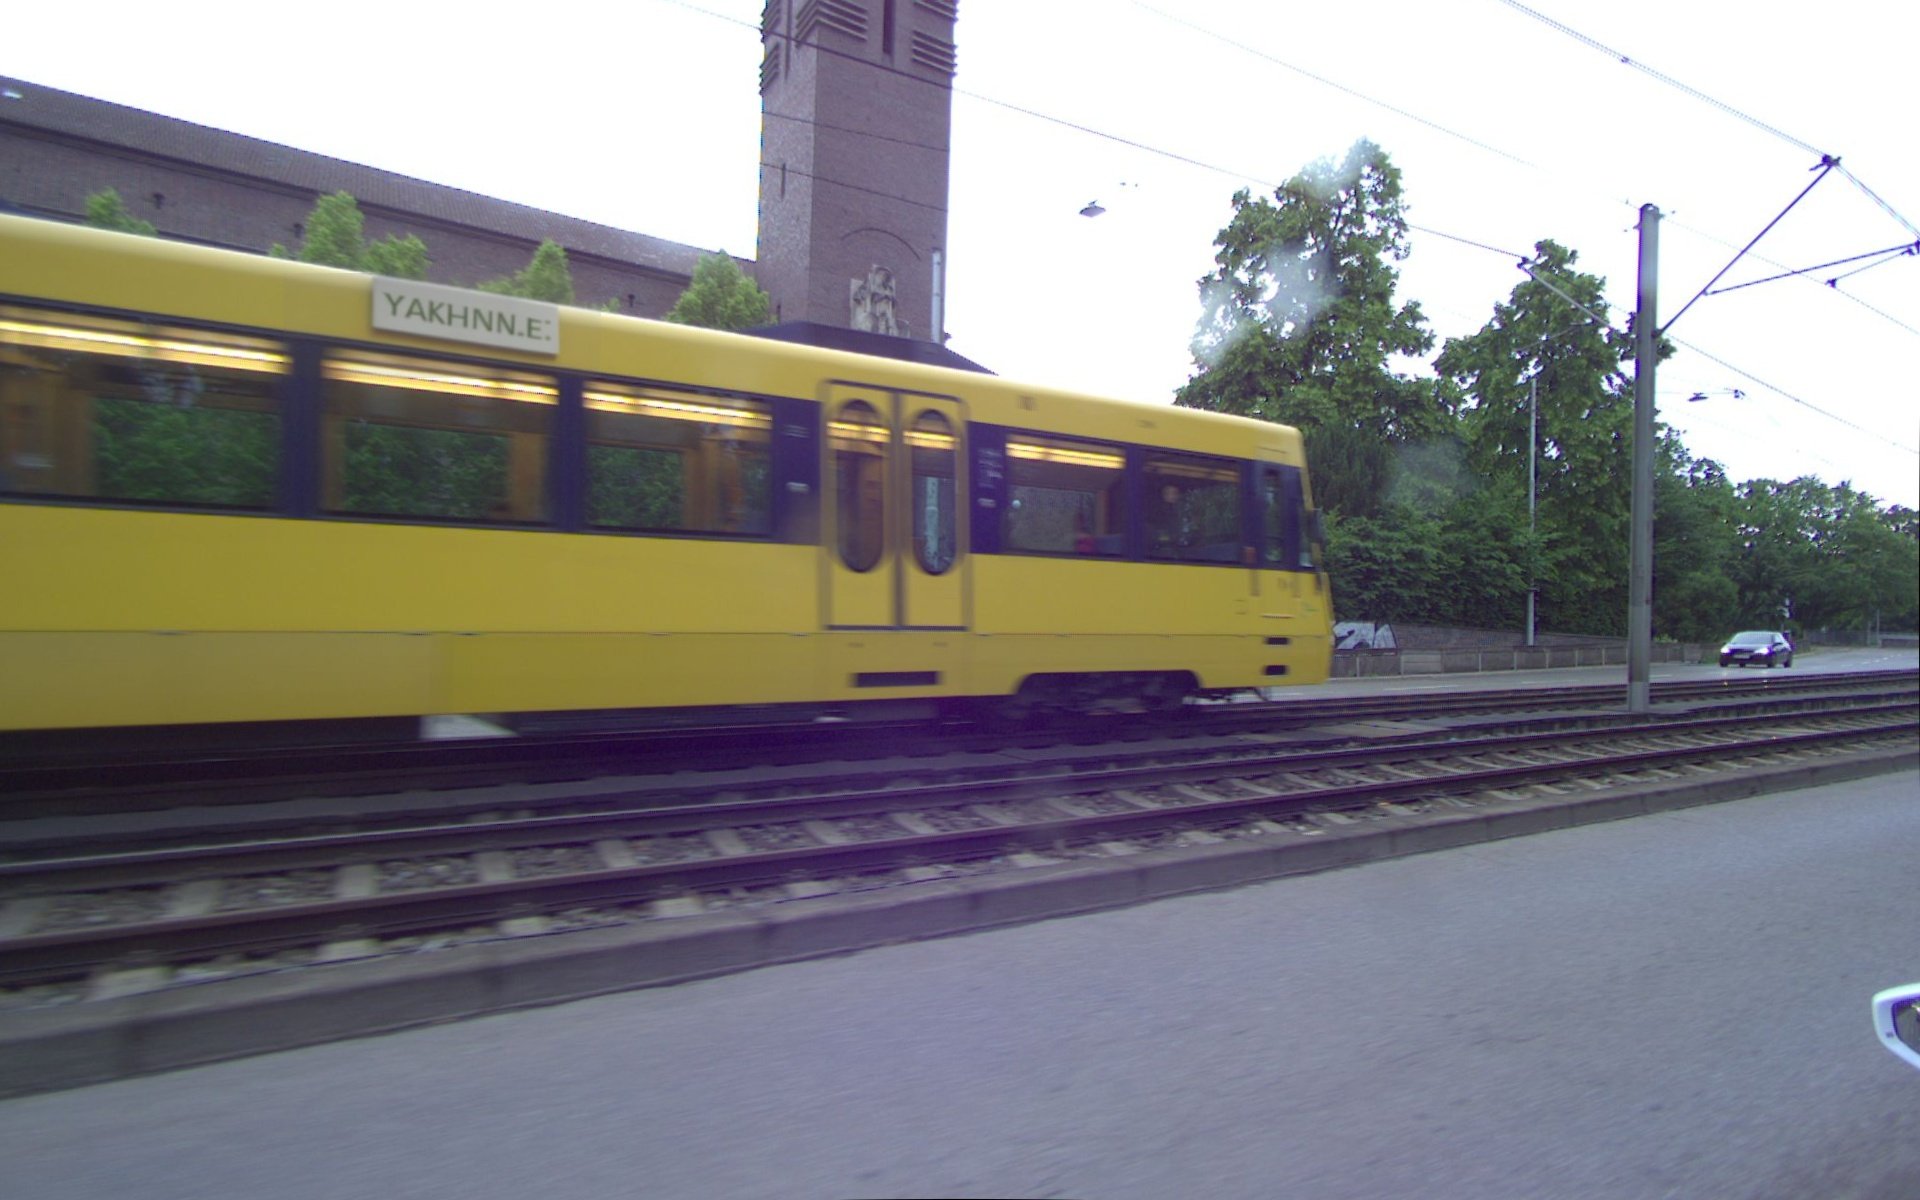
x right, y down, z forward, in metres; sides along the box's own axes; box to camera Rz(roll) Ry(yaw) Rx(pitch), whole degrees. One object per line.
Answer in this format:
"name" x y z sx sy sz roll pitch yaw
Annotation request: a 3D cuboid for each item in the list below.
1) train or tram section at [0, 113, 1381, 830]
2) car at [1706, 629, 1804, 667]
"train or tram section" -3.248 -0.634 8.599 17.672 4.028 2.814 1 -1 -31
"car" 32.459 1.955 40.981 4.277 1.460 1.953 2 -3 -34
